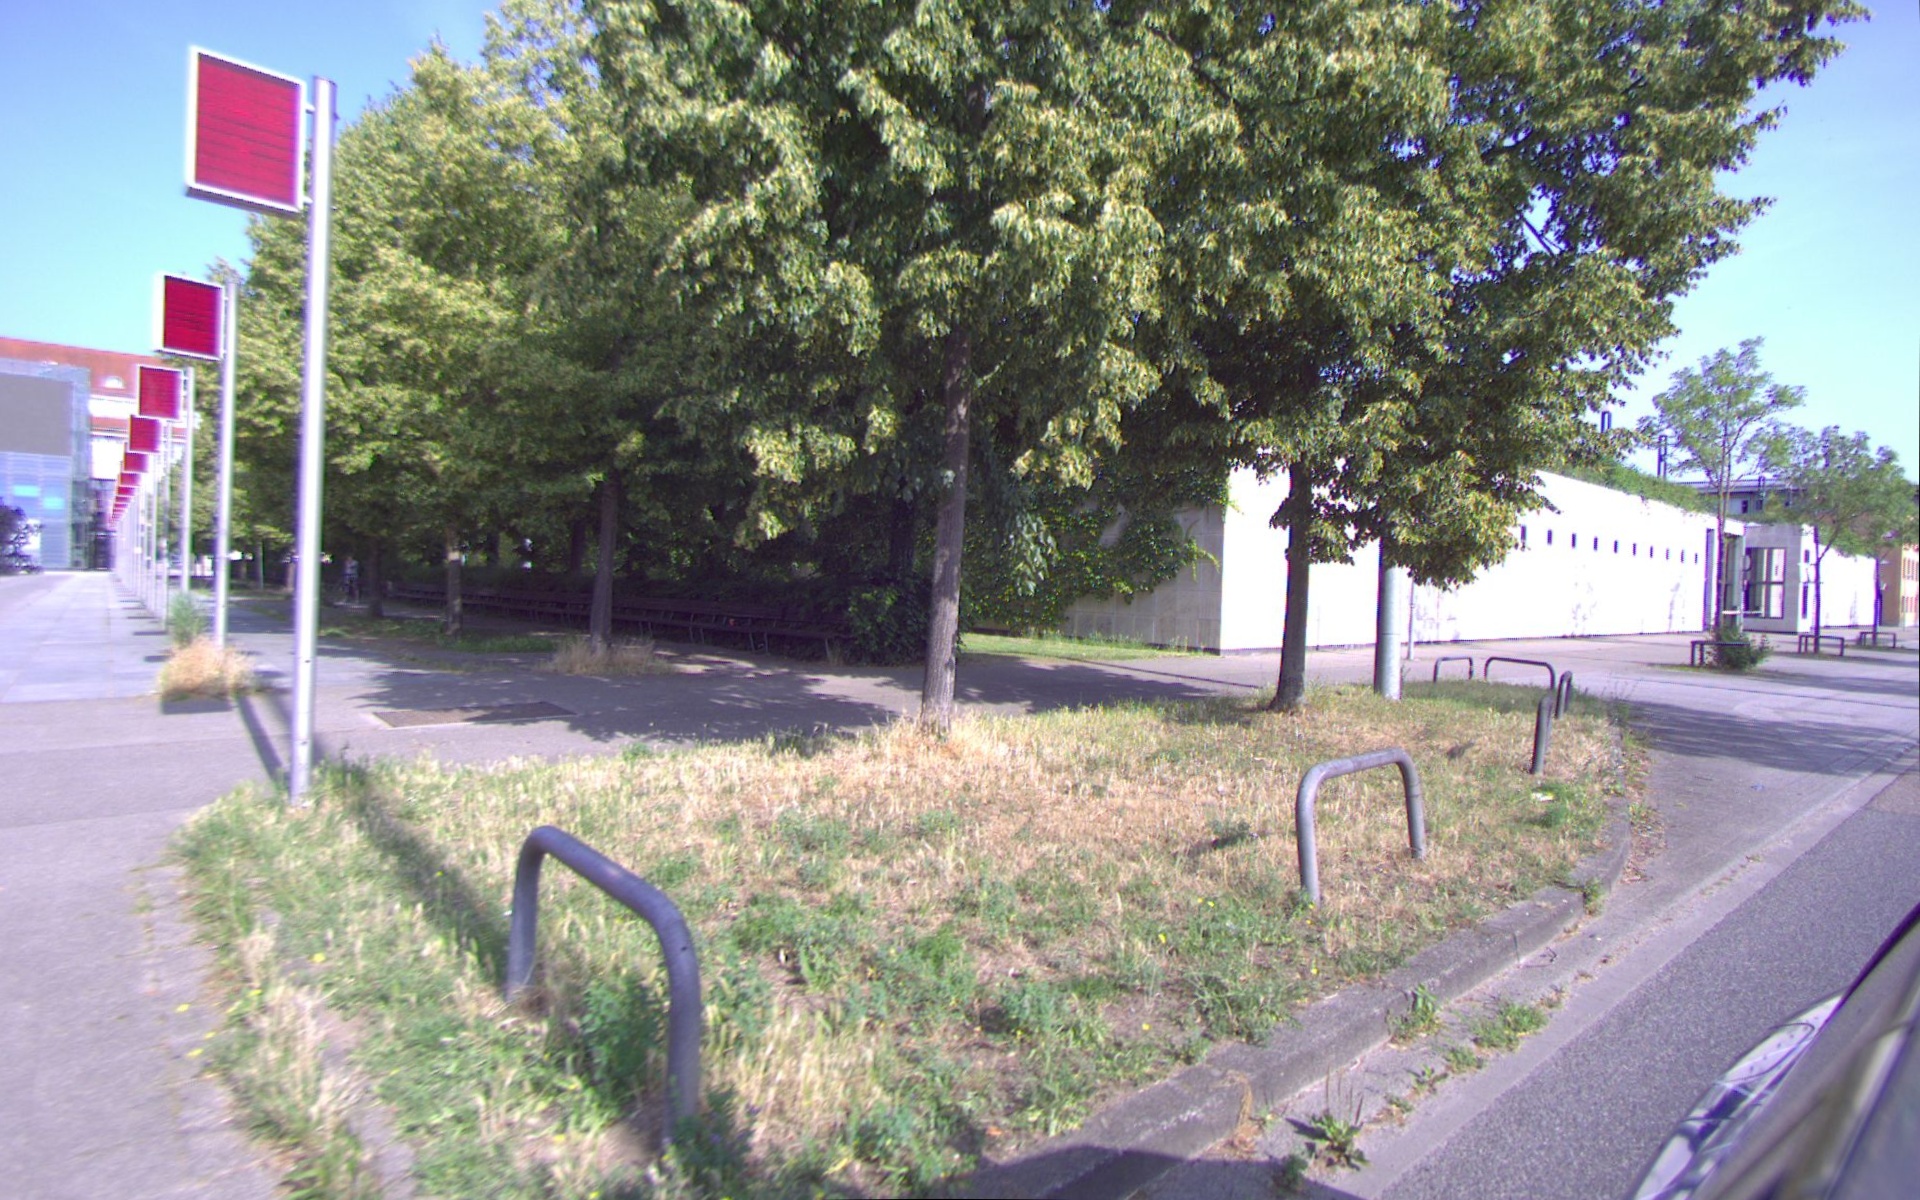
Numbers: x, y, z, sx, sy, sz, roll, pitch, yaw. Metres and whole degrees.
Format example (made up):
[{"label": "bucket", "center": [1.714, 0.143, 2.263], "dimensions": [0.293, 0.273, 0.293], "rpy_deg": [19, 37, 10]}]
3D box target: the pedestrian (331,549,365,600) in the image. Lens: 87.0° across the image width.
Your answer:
[{"label": "pedestrian", "center": [-22.382, -0.931, 37.033], "dimensions": [0.795, 1.845, 0.734], "rpy_deg": [1, 1, 19]}]
